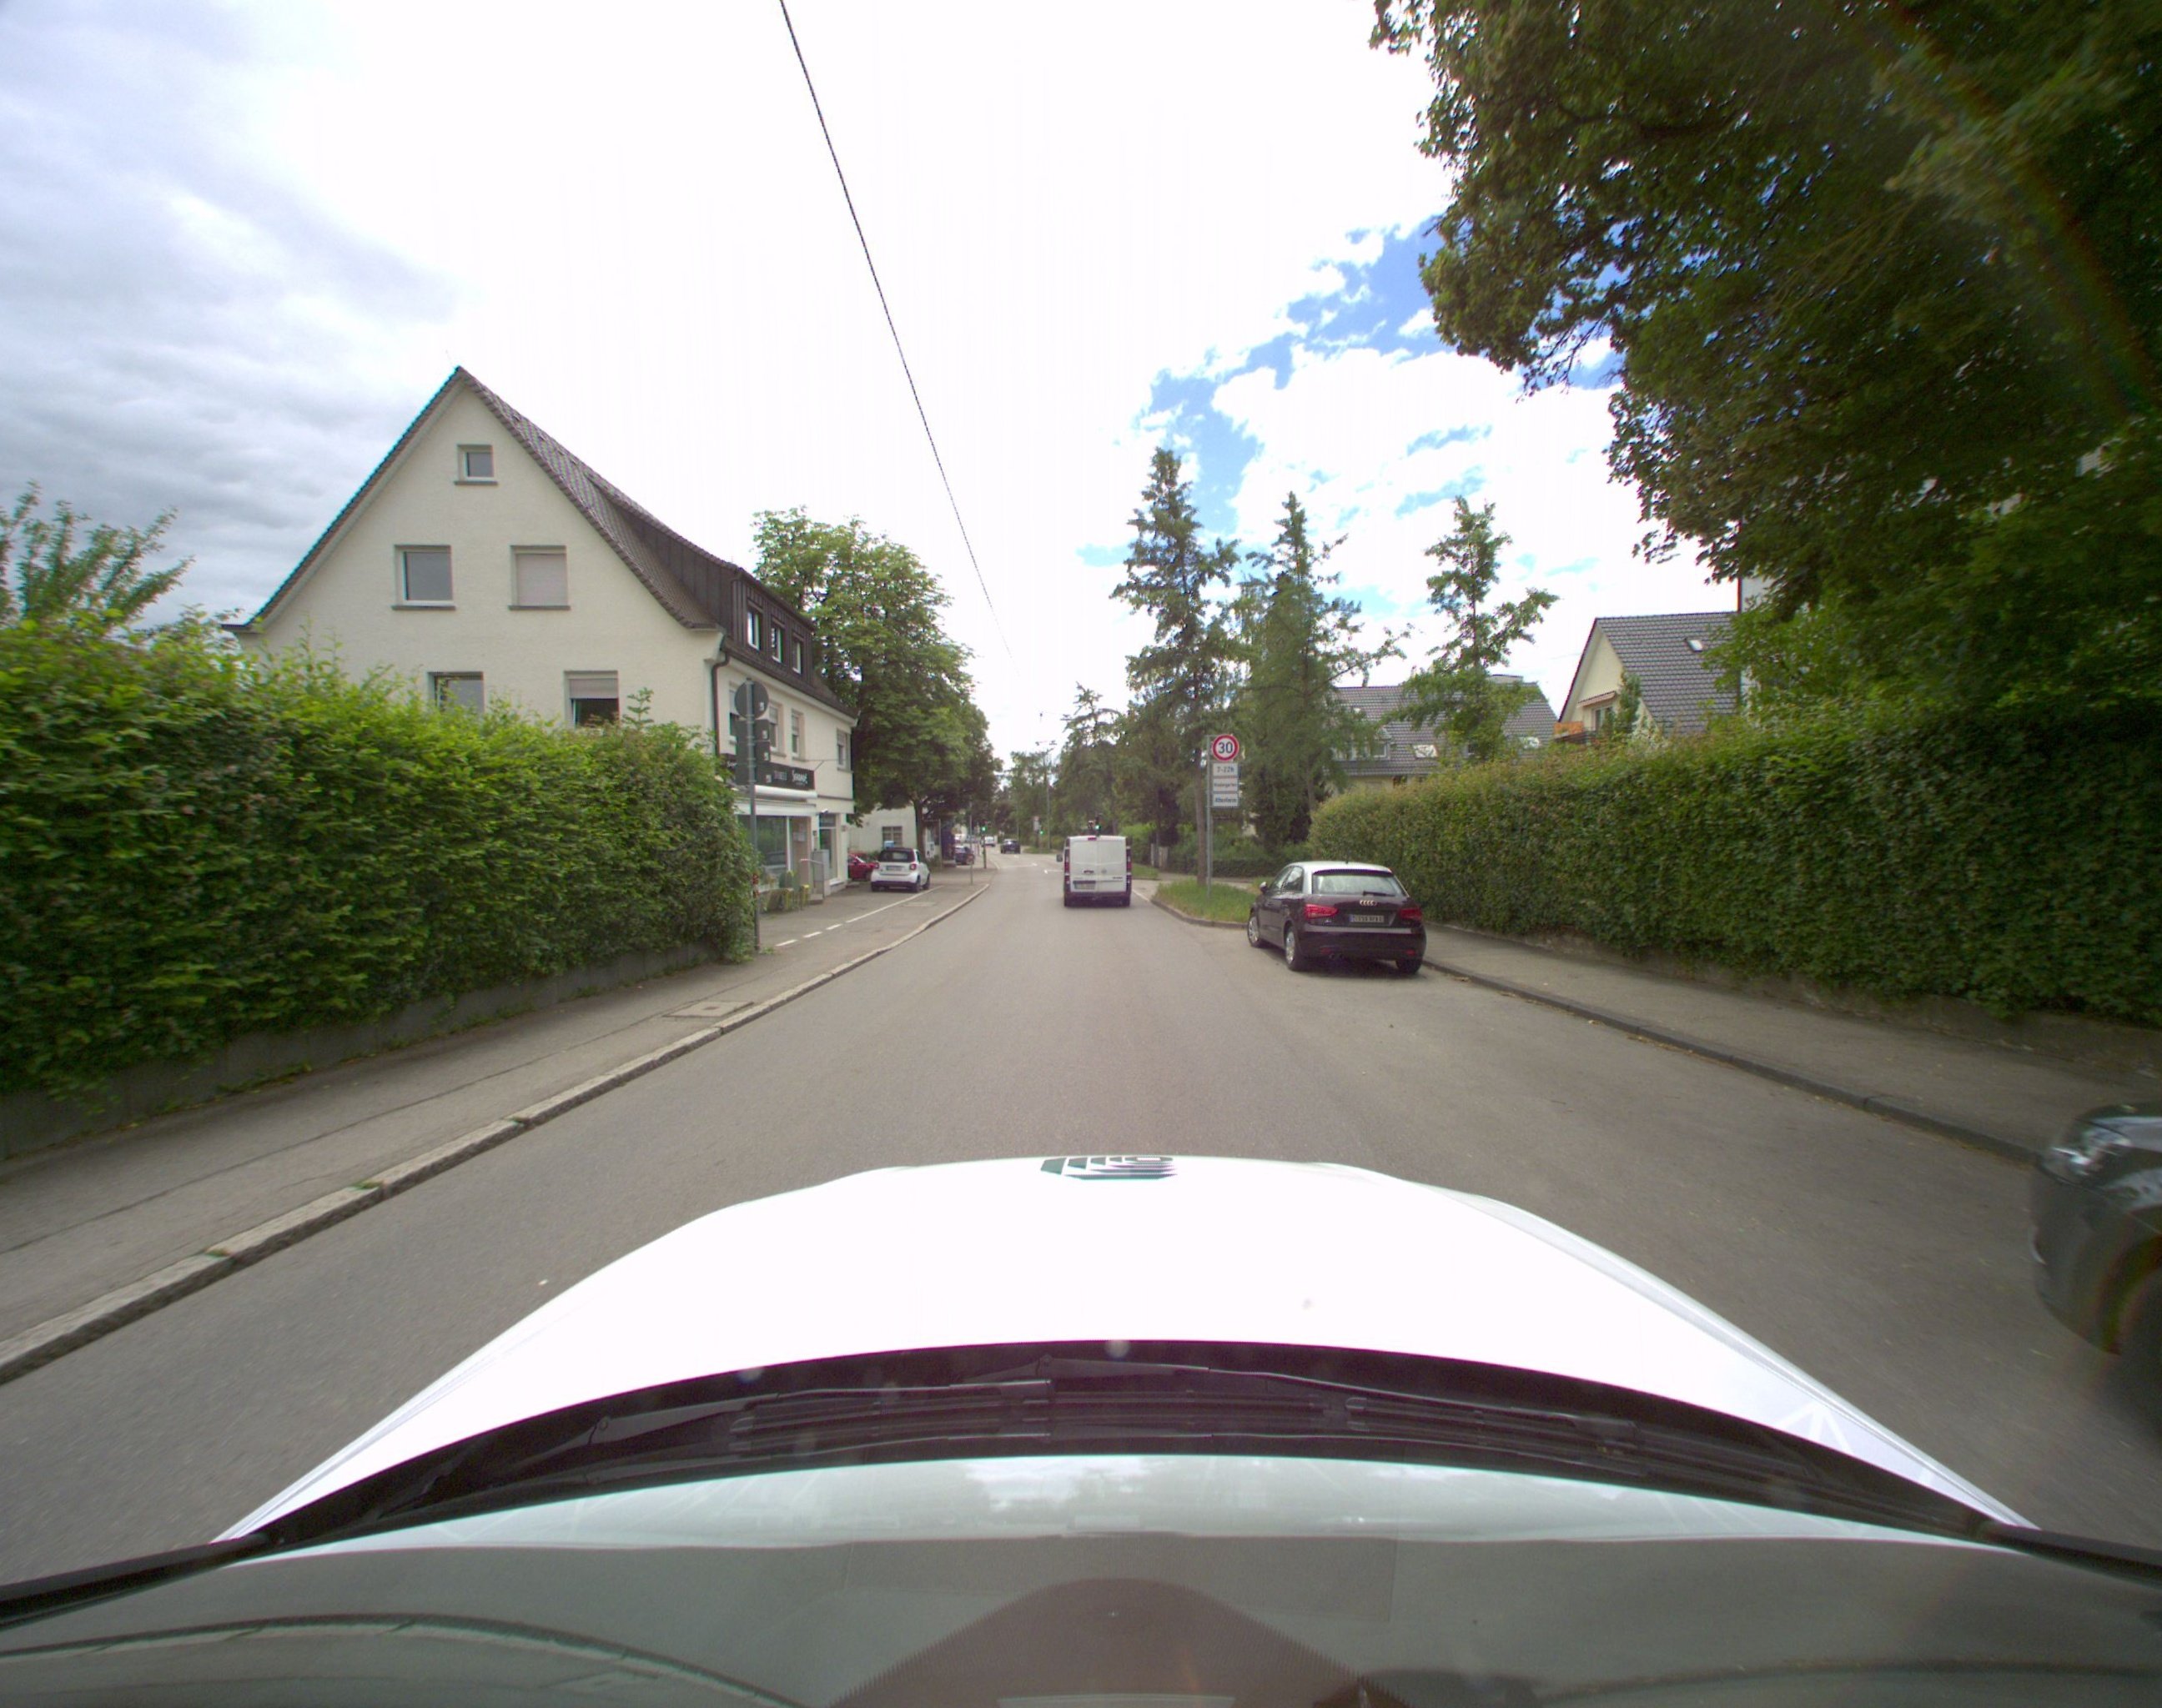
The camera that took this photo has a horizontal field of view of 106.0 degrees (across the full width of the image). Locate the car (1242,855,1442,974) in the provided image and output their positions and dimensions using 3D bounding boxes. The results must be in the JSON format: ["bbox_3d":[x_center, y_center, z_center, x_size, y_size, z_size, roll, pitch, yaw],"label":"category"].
[{"bbox_3d":[3.560,0.743,11.842,1.704,1.412,3.790,1,0,0],"label":"car"}]

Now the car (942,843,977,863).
[{"bbox_3d":[-9.194,-0.078,62.115,1.772,1.441,4.528,1,0,3],"label":"car"}]

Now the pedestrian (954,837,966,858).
[{"bbox_3d":[-10.093,-0.538,67.742,0.883,1.750,0.960,1,0,-12],"label":"pedestrian"}]

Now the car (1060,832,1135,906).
[{"bbox_3d":[0.381,0.360,23.854,1.925,1.964,4.398,0,1,-3],"label":"car"}]

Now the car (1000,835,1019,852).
[{"bbox_3d":[-8.131,-1.181,92.773,1.896,1.859,4.392,0,1,-8],"label":"car"}]

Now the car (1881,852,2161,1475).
[{"bbox_3d":[3.433,0.746,0.748,1.704,1.487,3.790,0,0,0],"label":"car"}]

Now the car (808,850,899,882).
[{"bbox_3d":[-11.487,0.603,41.143,4.181,1.432,1.827,0,4,25],"label":"car"}]

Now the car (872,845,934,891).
[{"bbox_3d":[-6.422,0.478,29.658,1.583,1.538,2.923,1,1,0],"label":"car"}]

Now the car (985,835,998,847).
[{"bbox_3d":[-13.941,-2.022,126.498,1.824,1.727,3.988,-1,1,-9],"label":"car"}]
